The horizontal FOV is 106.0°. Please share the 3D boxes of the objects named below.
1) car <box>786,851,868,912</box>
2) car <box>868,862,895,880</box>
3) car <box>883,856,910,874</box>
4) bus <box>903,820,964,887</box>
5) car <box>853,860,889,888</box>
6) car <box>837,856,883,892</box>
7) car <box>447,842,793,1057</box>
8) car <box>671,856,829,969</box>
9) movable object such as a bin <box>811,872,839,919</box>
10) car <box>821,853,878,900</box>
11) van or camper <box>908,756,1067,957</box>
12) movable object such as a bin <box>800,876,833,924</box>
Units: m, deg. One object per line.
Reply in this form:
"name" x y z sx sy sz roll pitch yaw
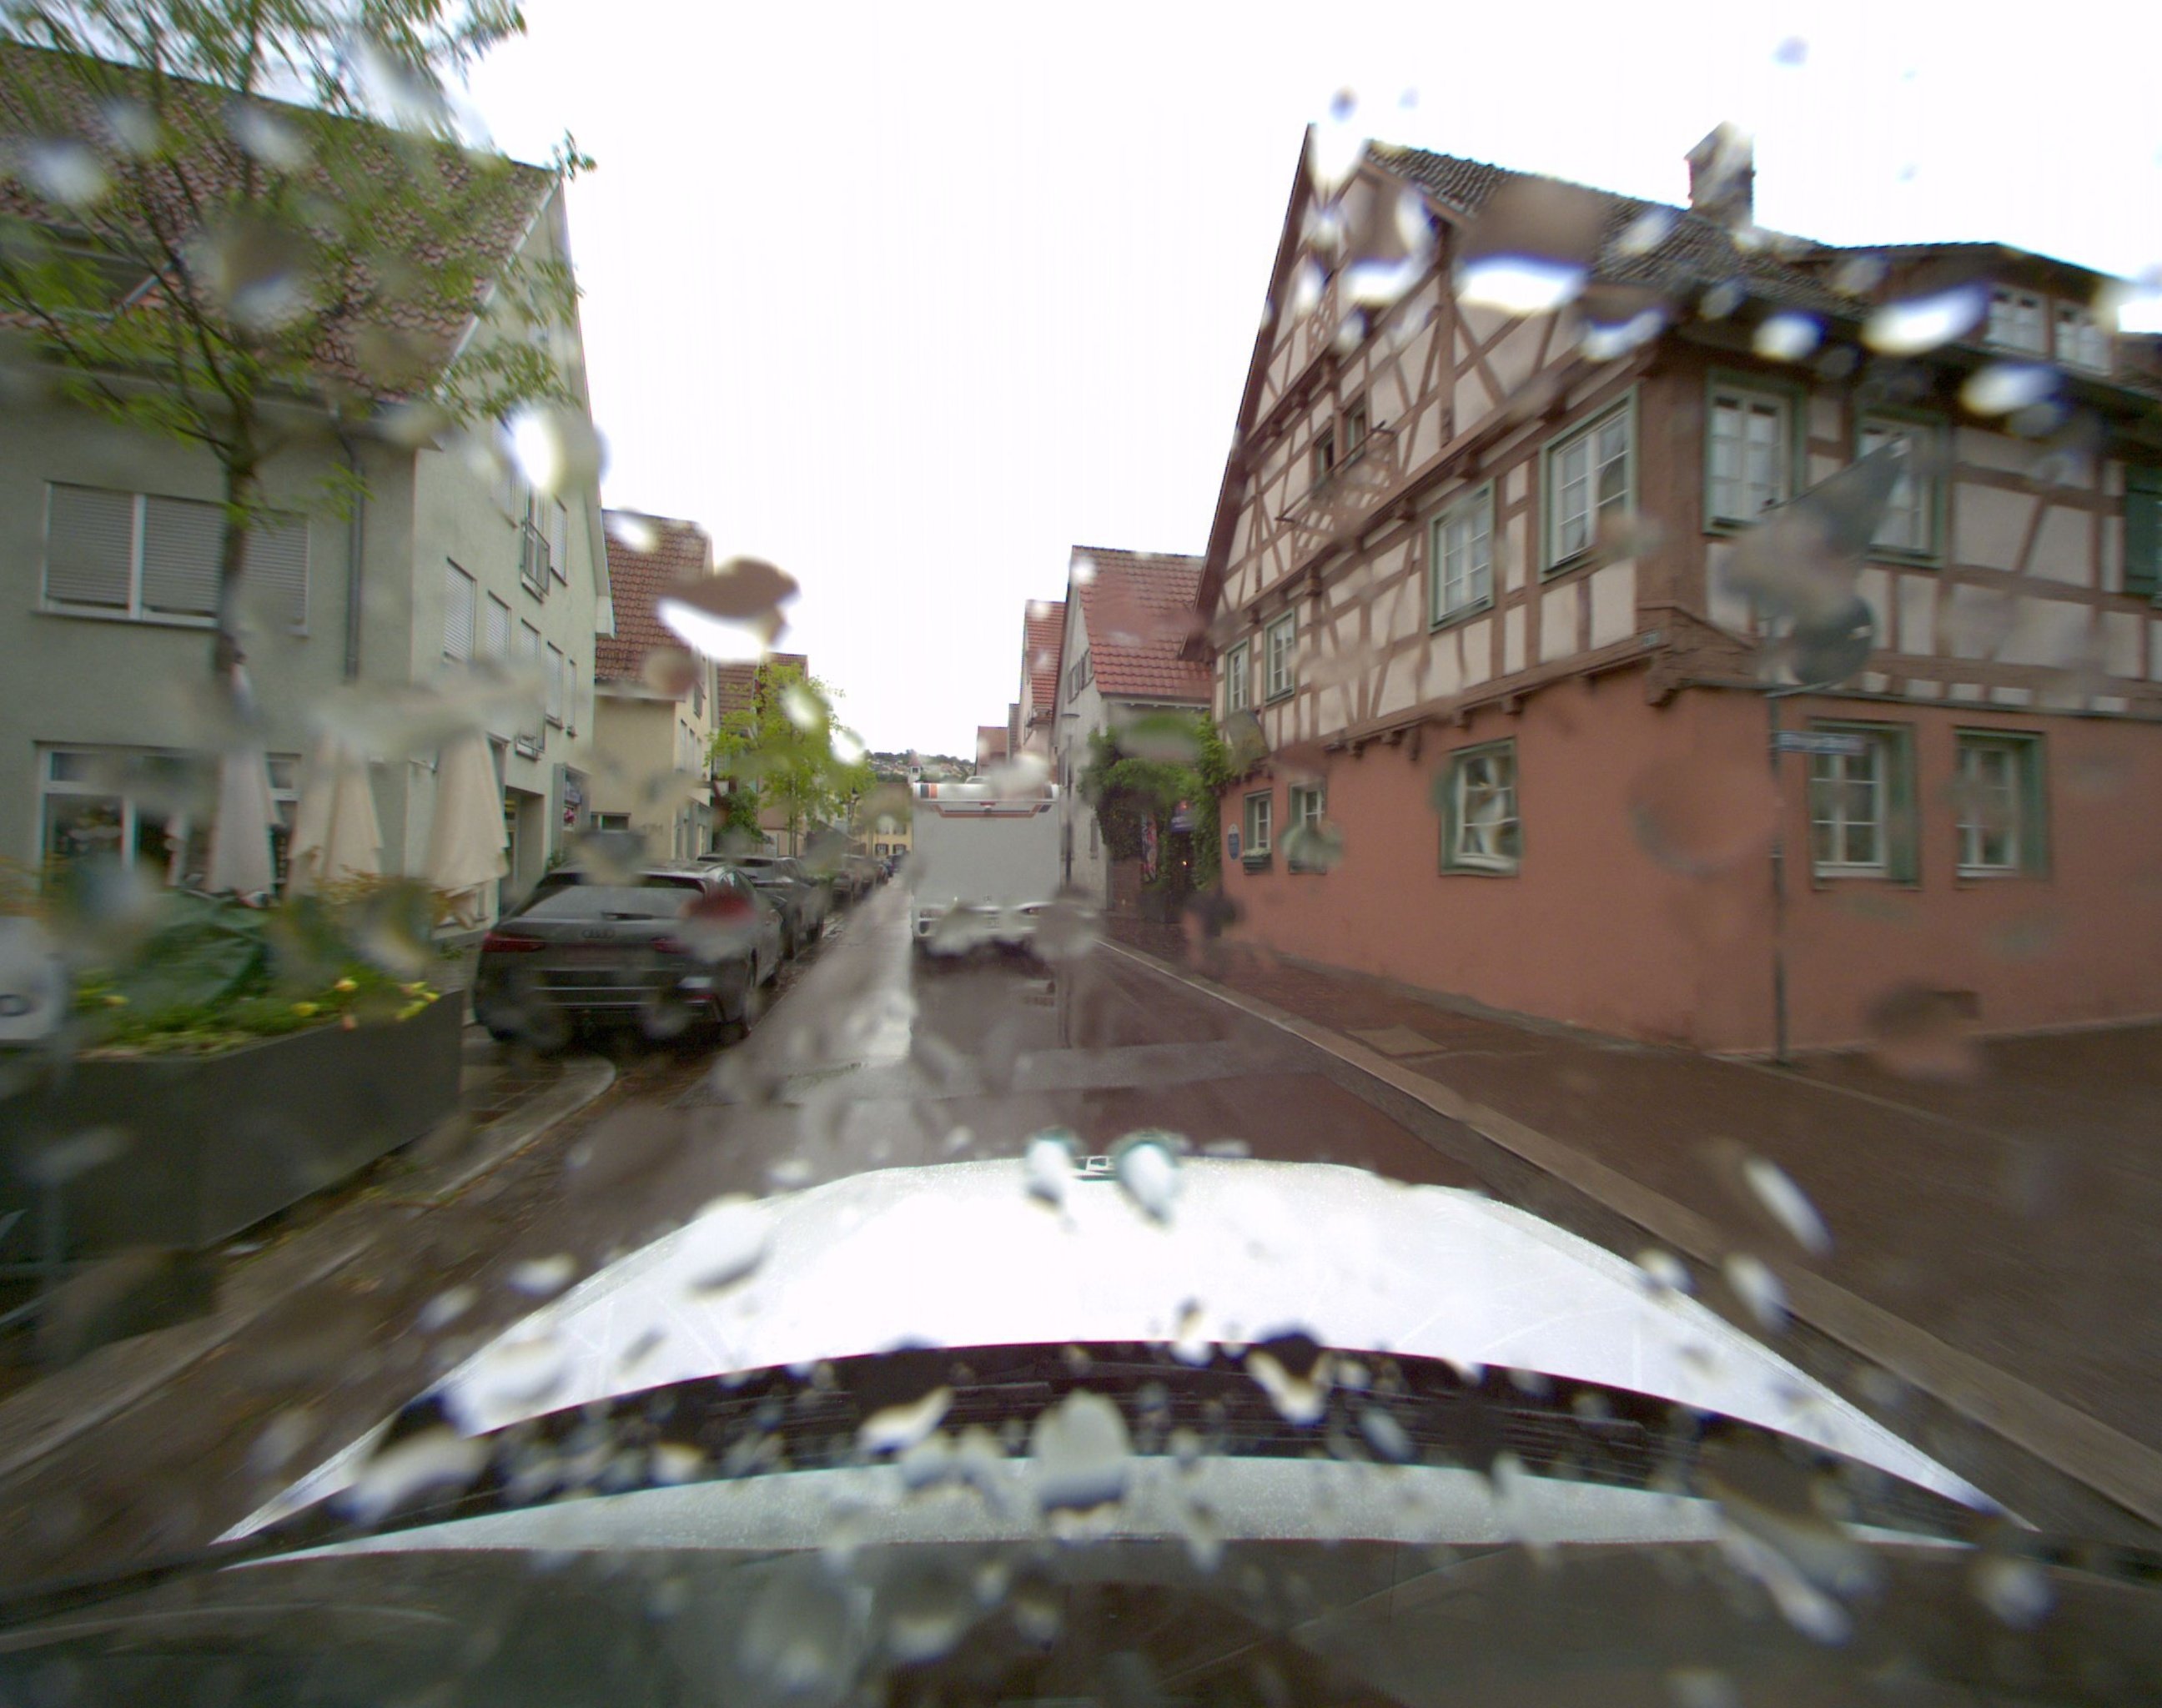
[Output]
"car" -7.552 0.834 24.607 1.772 1.675 4.463 1 -2 -10
"car" -16.963 1.457 69.073 1.998 1.472 3.977 1 -1 -17
"car" -21.215 1.296 93.546 2.006 2.014 3.961 0 -2 -30
"bus" -7.906 0.062 43.051 2.646 3.227 6.567 0 -2 -15
"car" -12.348 1.201 48.073 1.828 1.566 3.983 -1 -2 -12
"car" -10.167 0.921 37.722 1.835 1.552 4.263 -1 -2 -12
"car" -3.938 0.674 7.890 1.805 1.433 4.602 2 -1 -16
"car" -5.239 0.871 13.376 1.593 1.546 3.962 -1 -2 -10
"movable object such as a bin" -6.627 1.072 21.072 0.602 1.201 0.521 -1 -2 -9
"car" -8.910 0.890 31.676 1.835 1.675 4.520 -1 -2 -12
"van or camper" -2.023 0.118 15.194 2.328 2.919 6.365 -1 -2 -12
"movable object such as a bin" -6.141 1.051 18.931 0.621 1.079 0.723 -1 -2 -10
